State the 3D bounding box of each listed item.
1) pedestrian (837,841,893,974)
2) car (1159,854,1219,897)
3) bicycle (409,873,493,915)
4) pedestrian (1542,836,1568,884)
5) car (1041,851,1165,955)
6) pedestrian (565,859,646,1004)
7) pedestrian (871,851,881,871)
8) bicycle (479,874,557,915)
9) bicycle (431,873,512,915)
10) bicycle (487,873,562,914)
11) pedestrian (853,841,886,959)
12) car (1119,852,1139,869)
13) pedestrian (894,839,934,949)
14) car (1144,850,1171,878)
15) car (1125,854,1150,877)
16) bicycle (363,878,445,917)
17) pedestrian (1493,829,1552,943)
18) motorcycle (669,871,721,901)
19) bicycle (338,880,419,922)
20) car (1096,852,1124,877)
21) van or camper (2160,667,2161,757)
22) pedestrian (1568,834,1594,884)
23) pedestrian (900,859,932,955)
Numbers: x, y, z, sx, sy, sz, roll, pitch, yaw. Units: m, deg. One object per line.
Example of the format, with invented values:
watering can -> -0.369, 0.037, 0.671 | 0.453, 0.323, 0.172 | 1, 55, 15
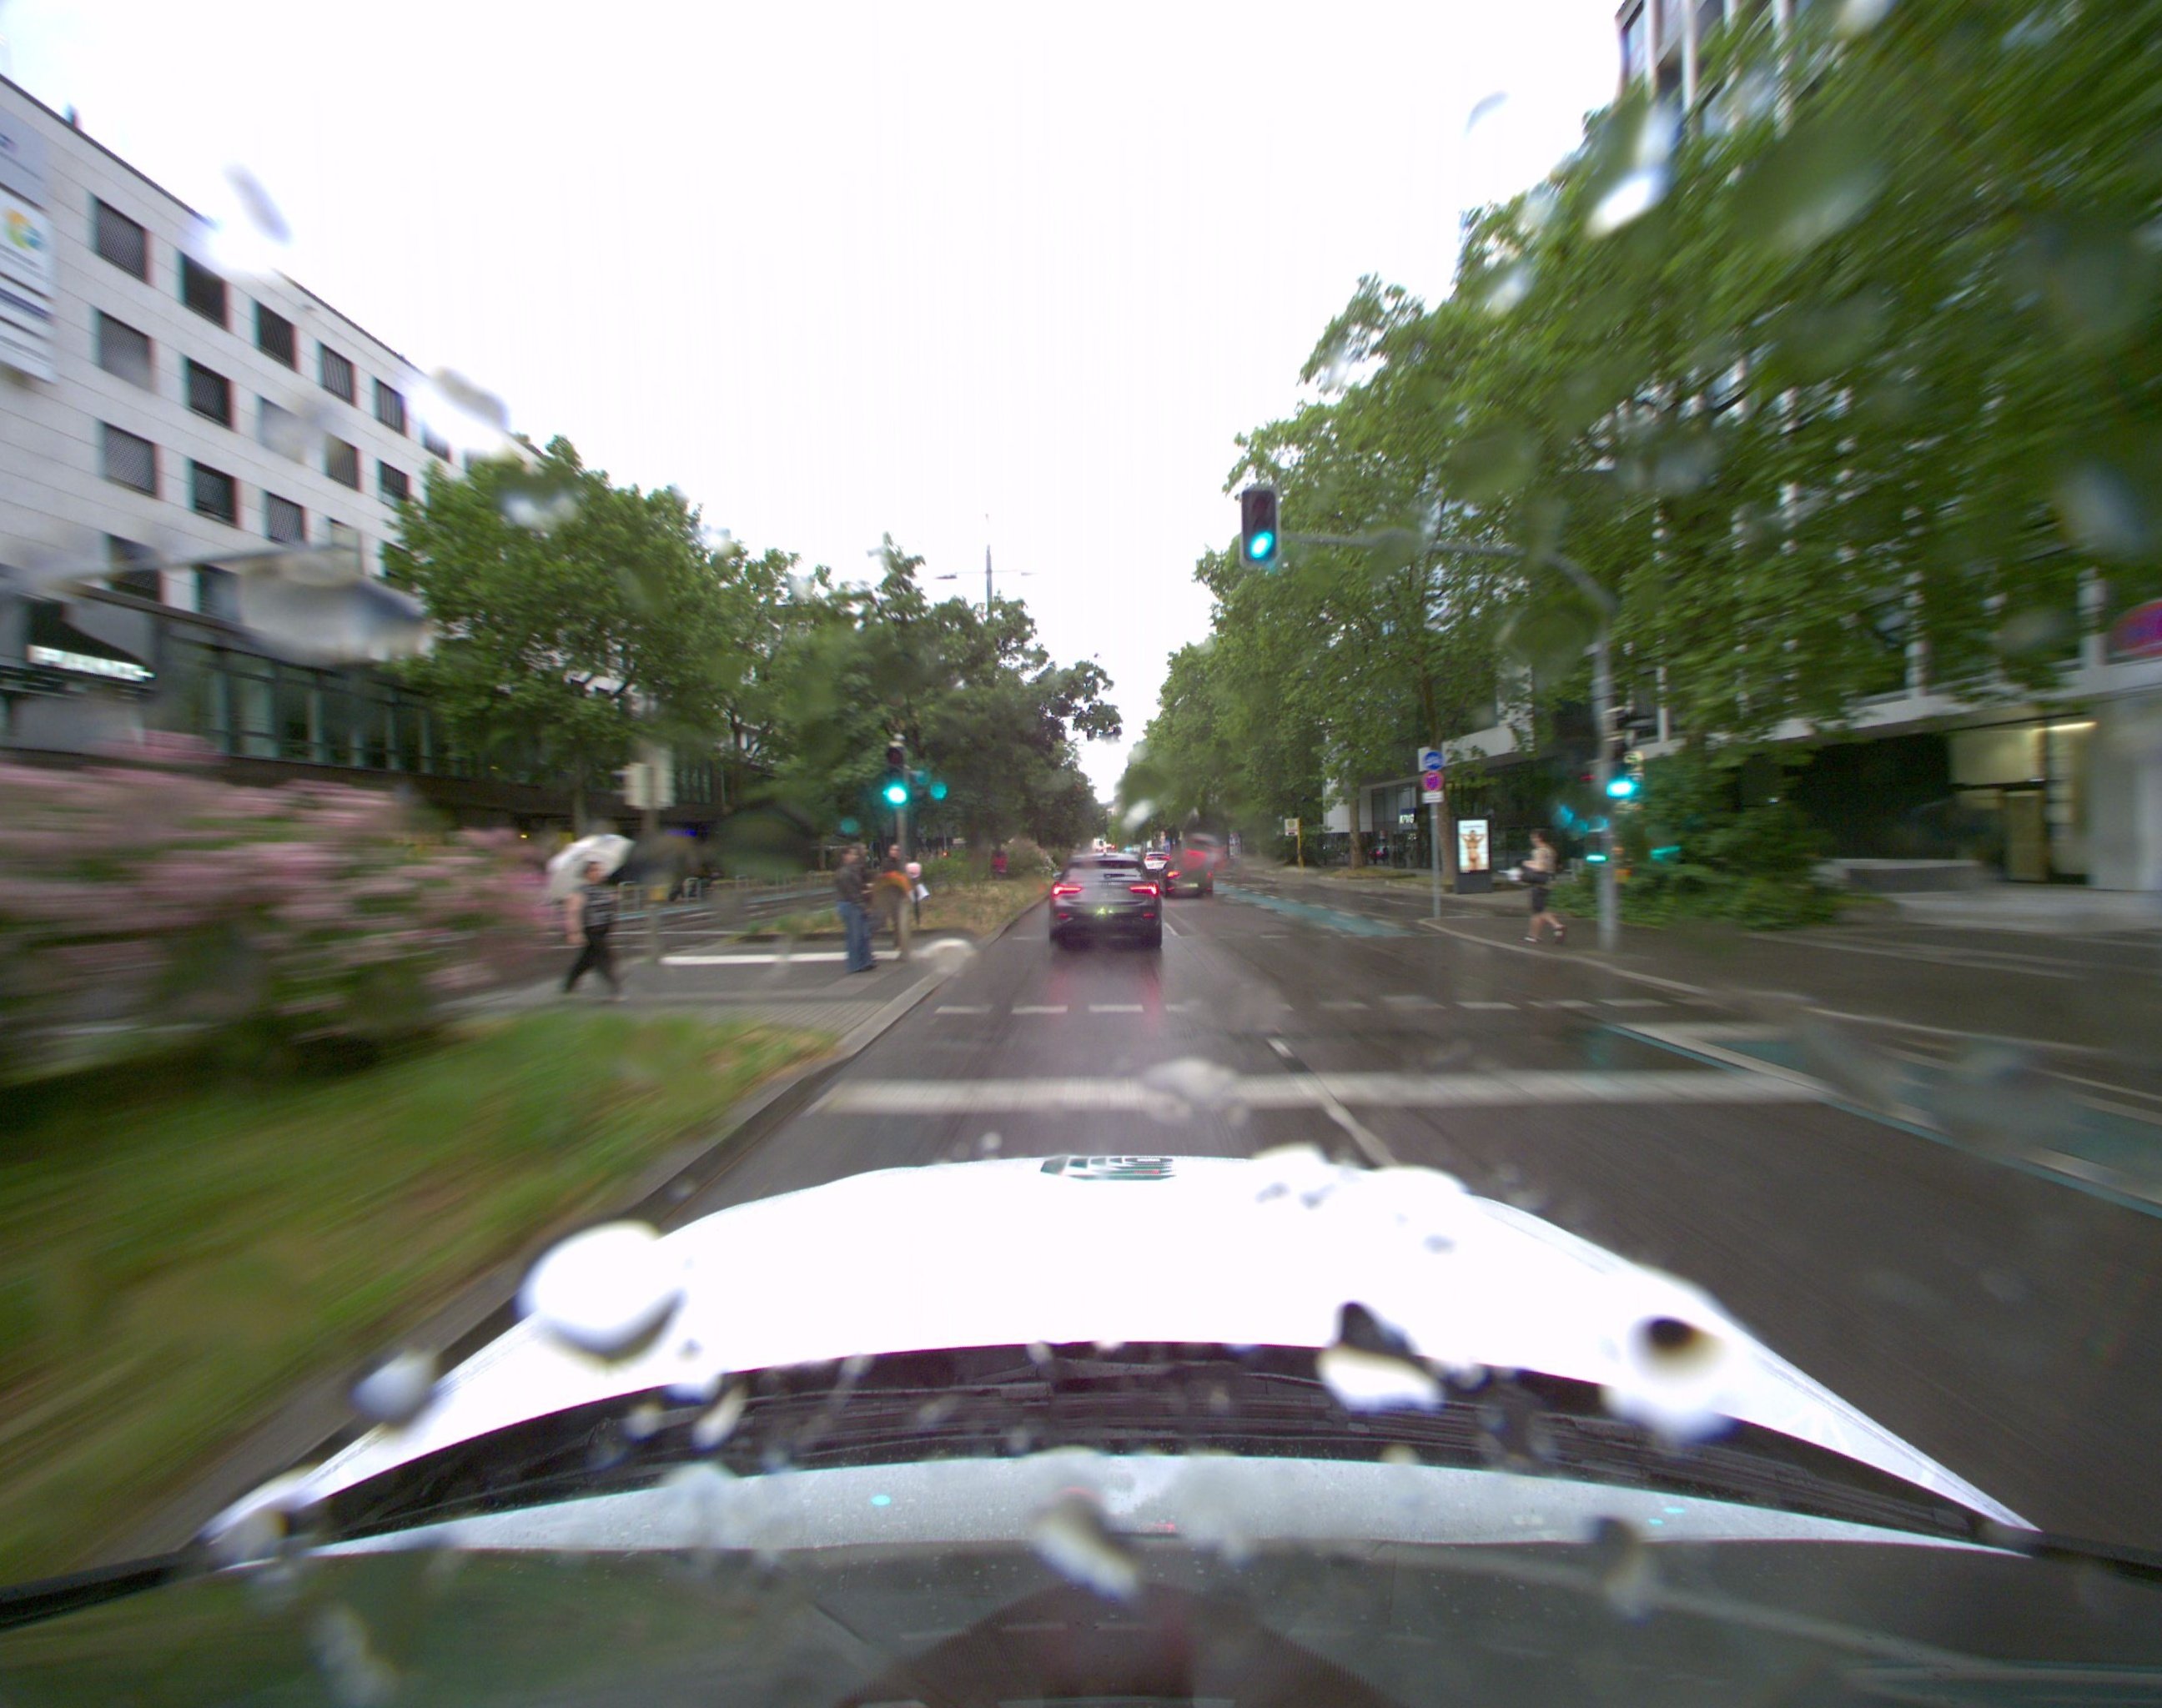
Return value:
pedestrian -> -2.793, 0.663, 10.512 | 0.613, 1.642, 0.601 | -1, 0, -21
car -> 3.985, 0.752, 30.534 | 1.759, 1.413, 4.001 | -2, 0, 1
bicycle -> -17.767, 1.118, 22.997 | 1.819, 1.097, 0.565 | -2, 0, -7
pedestrian -> 17.928, 0.233, 30.816 | 0.561, 1.794, 0.607 | -1, 0, -2
car -> 0.451, 0.741, 14.694 | 1.855, 1.532, 4.530 | -1, 0, 3
pedestrian -> -5.118, 0.810, 8.784 | 0.478, 1.489, 0.547 | -1, 0, 20
pedestrian -> -20.779, 0.674, 82.584 | 0.877, 2.013, 0.636 | -1, 0, 1
bicycle -> -16.972, 1.220, 24.568 | 1.841, 1.136, 0.565 | -2, 0, -6
bicycle -> -17.753, 1.149, 23.741 | 1.842, 1.136, 0.565 | -2, 0, -7
bicycle -> -17.202, 1.218, 25.199 | 1.841, 1.149, 0.565 | -2, 0, -6
pedestrian -> -3.131, 0.669, 12.060 | 0.398, 1.720, 0.324 | -1, 0, -9
car -> 5.233, 0.672, 89.191 | 1.986, 1.750, 4.002 | -2, 0, 2
pedestrian -> -2.634, 0.619, 12.867 | 0.573, 1.698, 0.403 | -1, 0, -11
car -> 4.785, 0.592, 51.074 | 1.428, 1.685, 2.980 | -2, 0, 2
car -> 4.648, 0.938, 67.311 | 1.815, 1.750, 4.002 | -2, 0, 2
bicycle -> -17.705, 1.129, 21.314 | 1.616, 0.962, 0.508 | -2, 0, -6
pedestrian -> 7.271, 0.510, 13.427 | 0.605, 1.831, 0.563 | -1, 0, -8
motorcycle -> -14.765, 1.205, 31.184 | 1.784, 1.084, 0.491 | -1, 0, -29
bicycle -> -17.794, 1.185, 20.649 | 1.461, 0.979, 0.564 | -2, 0, -7
car -> 1.920, 0.666, 54.311 | 1.715, 1.577, 3.963 | -1, 0, 1
van or camper -> 8.728, 0.083, 2.742 | 5.741, 2.677, 2.161 | -1, 0, 39
pedestrian -> 18.913, 0.180, 30.836 | 0.561, 1.854, 0.607 | -1, 0, -2
pedestrian -> -2.559, 0.807, 12.617 | 0.424, 1.450, 0.383 | -1, 0, -17
